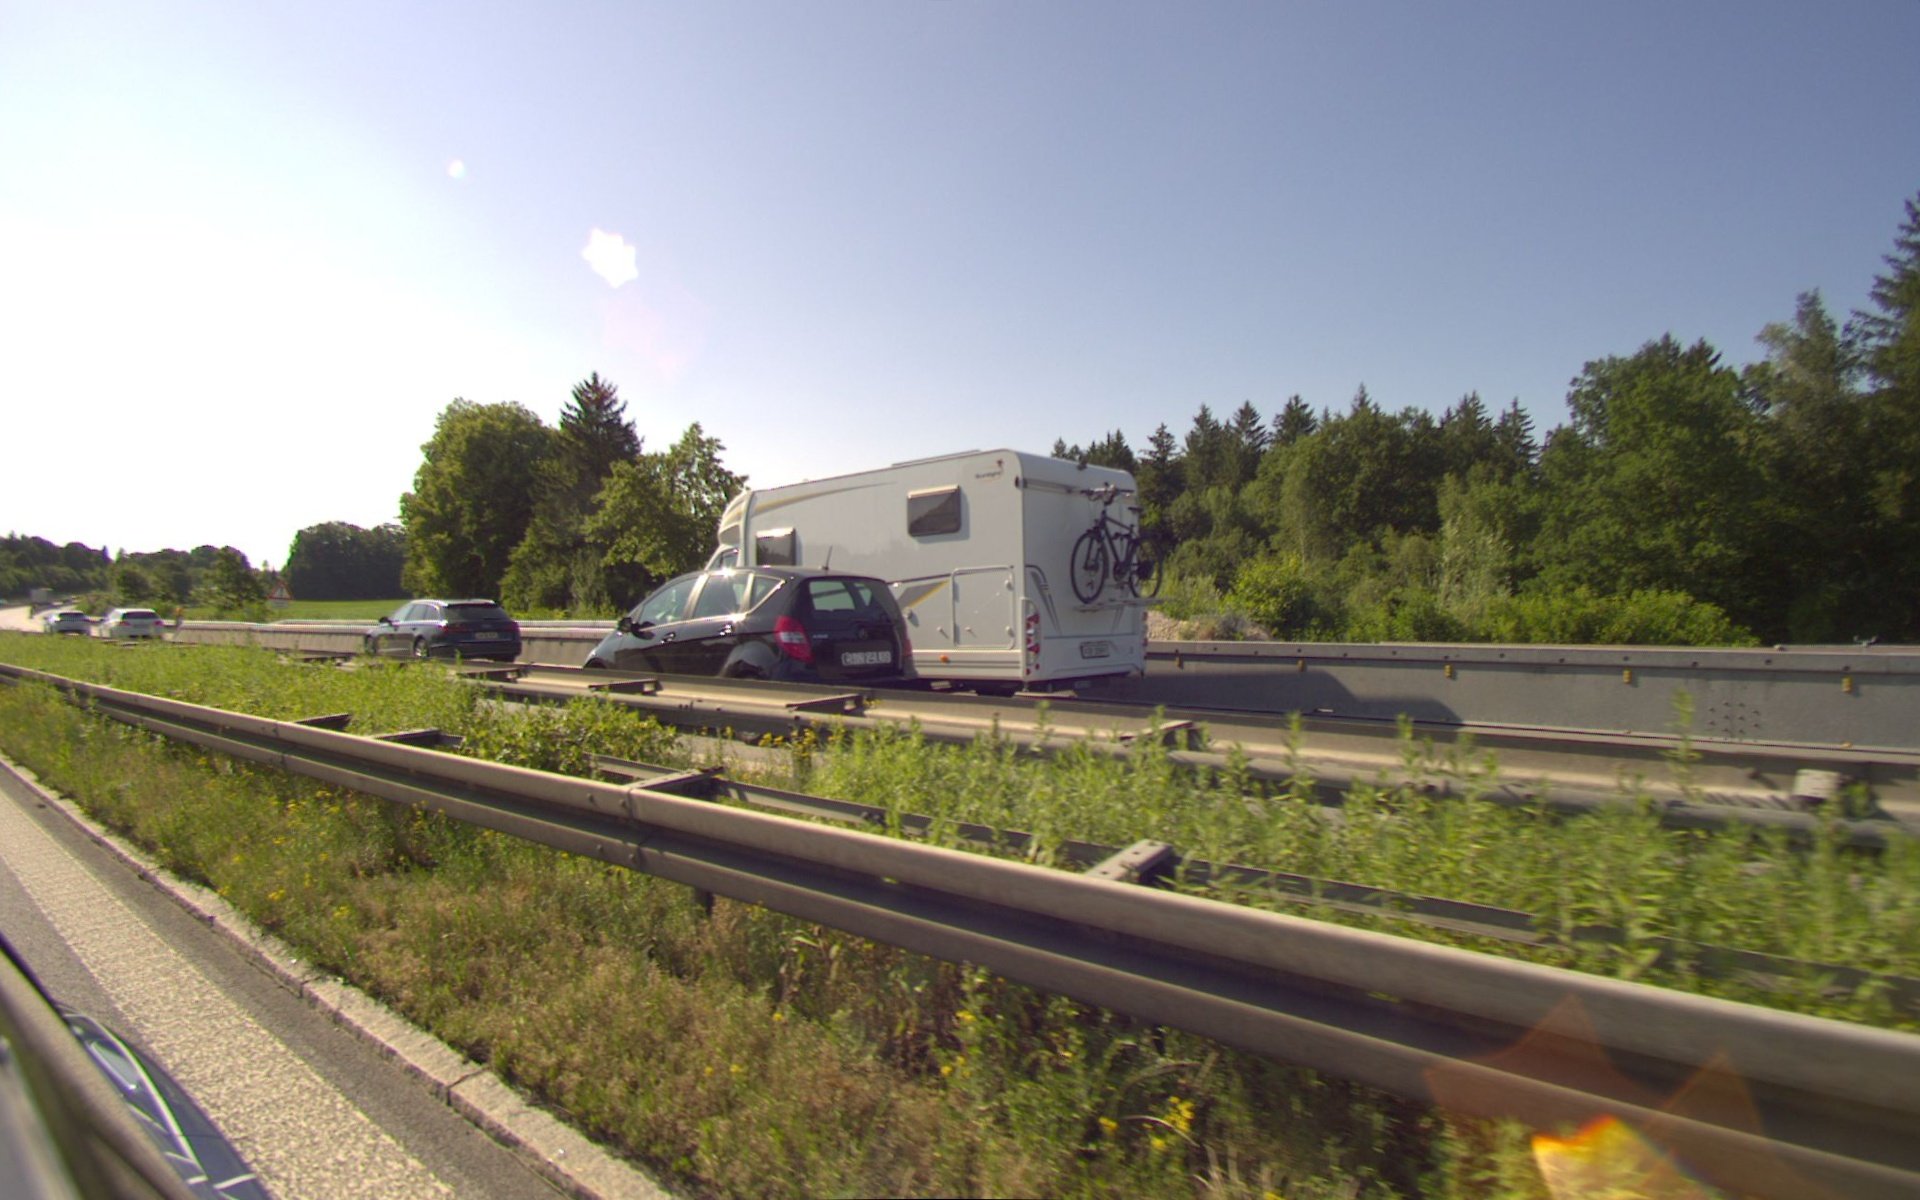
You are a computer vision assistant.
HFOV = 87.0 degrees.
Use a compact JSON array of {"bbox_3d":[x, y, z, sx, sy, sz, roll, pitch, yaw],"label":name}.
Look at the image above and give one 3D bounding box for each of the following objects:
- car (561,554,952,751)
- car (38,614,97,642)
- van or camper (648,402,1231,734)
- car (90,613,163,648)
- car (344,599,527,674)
[{"bbox_3d":[-2.127,0.460,9.927,3.999,1.541,1.723,-2,-2,42],"label":"car"},{"bbox_3d":[-50.312,1.550,56.989,4.981,1.443,1.863,-1,0,41],"label":"car"},{"bbox_3d":[-0.716,-0.241,12.473,7.520,2.972,2.381,-2,0,42],"label":"van or camper"},{"bbox_3d":[-36.231,1.334,43.950,4.953,1.443,1.683,-2,-2,41],"label":"car"},{"bbox_3d":[-11.465,0.784,21.952,5.232,1.443,1.723,-2,-3,41],"label":"car"}]
